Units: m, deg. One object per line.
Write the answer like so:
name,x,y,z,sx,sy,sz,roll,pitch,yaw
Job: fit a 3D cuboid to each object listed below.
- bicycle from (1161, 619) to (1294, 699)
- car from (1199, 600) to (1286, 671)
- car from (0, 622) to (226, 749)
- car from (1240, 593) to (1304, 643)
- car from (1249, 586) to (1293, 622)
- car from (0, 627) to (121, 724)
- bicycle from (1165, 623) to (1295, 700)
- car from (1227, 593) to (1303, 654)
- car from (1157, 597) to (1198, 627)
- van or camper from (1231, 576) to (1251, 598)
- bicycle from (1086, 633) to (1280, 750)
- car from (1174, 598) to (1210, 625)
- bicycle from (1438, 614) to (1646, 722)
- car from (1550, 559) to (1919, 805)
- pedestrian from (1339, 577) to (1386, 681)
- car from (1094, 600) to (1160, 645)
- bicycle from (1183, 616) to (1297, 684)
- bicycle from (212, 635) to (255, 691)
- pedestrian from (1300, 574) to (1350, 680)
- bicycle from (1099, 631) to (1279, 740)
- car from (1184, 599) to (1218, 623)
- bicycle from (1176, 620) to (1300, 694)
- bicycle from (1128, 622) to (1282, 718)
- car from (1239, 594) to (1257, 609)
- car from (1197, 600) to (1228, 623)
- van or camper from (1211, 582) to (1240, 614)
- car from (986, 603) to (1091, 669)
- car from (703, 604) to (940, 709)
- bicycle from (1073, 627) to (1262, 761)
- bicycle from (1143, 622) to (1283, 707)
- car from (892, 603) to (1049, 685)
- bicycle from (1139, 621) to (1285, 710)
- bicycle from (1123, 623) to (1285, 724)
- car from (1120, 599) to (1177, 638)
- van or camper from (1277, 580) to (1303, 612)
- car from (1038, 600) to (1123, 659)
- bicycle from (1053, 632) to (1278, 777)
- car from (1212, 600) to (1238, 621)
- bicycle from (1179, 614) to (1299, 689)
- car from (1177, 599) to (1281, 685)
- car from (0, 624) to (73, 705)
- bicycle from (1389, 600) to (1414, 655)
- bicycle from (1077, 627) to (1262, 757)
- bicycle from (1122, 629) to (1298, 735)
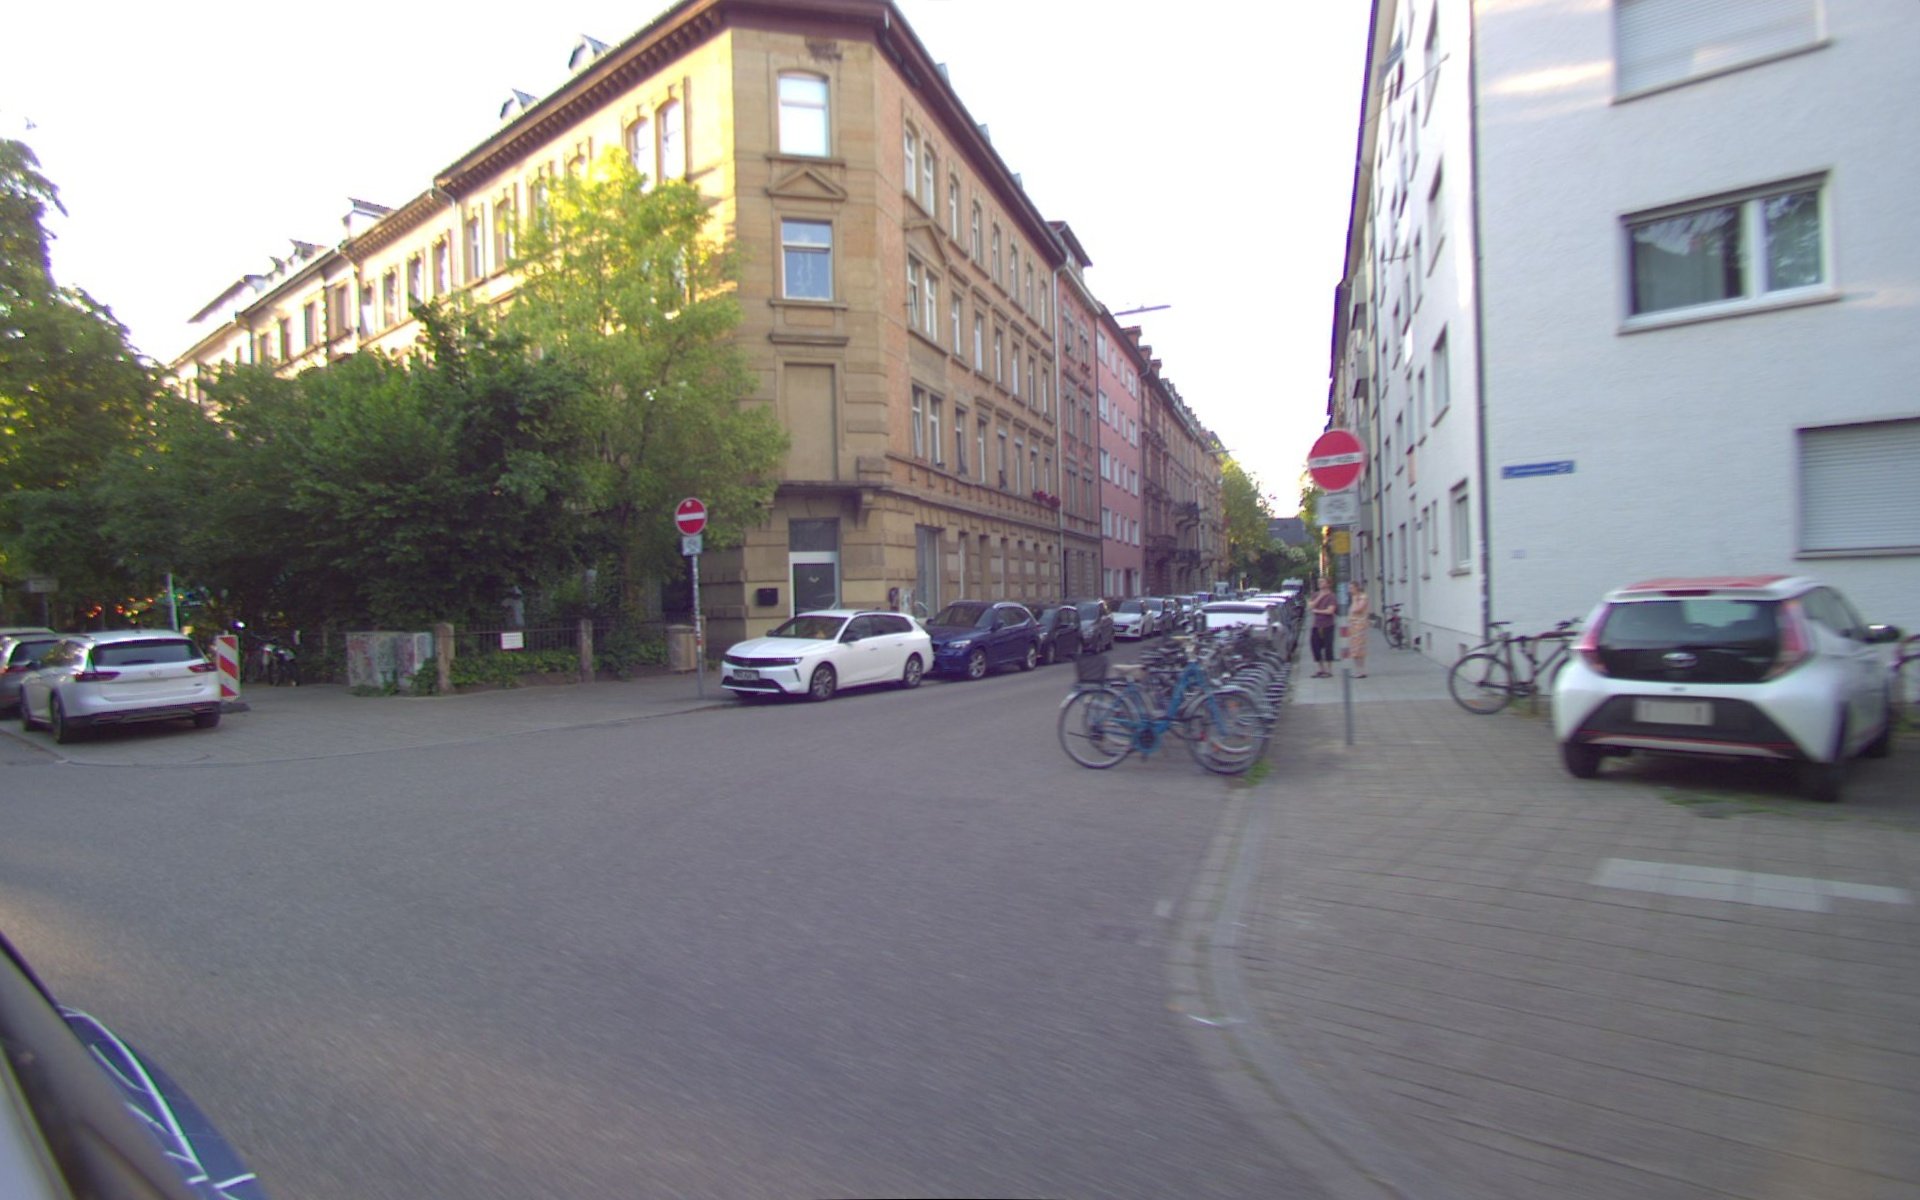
bicycle,3.914,0.875,14.837,1.837,1.125,0.399,-2,-1,20
car,6.827,0.780,24.249,1.679,1.464,3.694,2,1,21
car,-12.822,1.207,15.197,4.732,1.513,1.674,-3,2,39
car,10.701,0.568,34.556,1.832,1.563,4.079,-2,0,21
car,16.536,0.187,53.735,1.985,1.785,3.974,-2,0,20
car,-17.430,1.341,19.055,4.398,1.513,1.673,-2,2,40
bicycle,4.064,0.927,15.289,1.836,1.113,0.365,-2,-1,18
car,8.982,0.649,29.577,1.829,1.567,3.973,-2,0,21
car,11.732,0.625,54.424,1.696,1.540,3.850,0,0,20
van or camper,34.614,-1.542,124.639,2.068,2.704,5.344,0,0,19
bicycle,2.220,0.916,10.155,1.834,1.117,0.365,-2,-1,14
car,13.803,0.670,60.036,1.696,1.540,3.850,0,0,20
bicycle,6.227,0.709,10.921,1.877,1.070,0.391,-2,-1,41
car,6.386,0.467,8.017,4.042,1.458,1.711,-2,-1,-41
pedestrian,6.765,0.477,17.041,0.578,1.695,0.533,-5,-1,20
car,6.207,0.785,37.396,1.697,1.564,3.848,0,0,21
bicycle,4.794,0.868,17.377,1.836,1.113,0.365,-2,-1,18
bicycle,-17.874,1.523,24.928,0.597,1.294,2.493,-1,-1,-30
pedestrian,6.361,0.469,17.663,0.618,1.778,0.499,-6,-1,18
bicycle,2.452,0.922,10.919,1.834,1.117,0.365,-2,-1,14
car,15.592,0.692,65.359,1.696,1.540,3.850,0,0,20
bicycle,4.374,0.898,15.984,1.836,1.113,0.365,-2,-1,18
bicycle,3.091,0.894,12.825,1.834,1.160,0.365,-2,-1,14
car,30.833,0.136,108.283,1.696,1.540,3.850,0,0,20
car,17.650,0.752,70.667,1.696,1.540,3.850,0,0,20
van or camper,23.399,-0.182,88.993,2.068,2.747,5.344,0,0,19
car,2.126,0.876,26.528,1.697,1.564,3.847,0,0,22
car,-2.235,0.899,17.627,1.702,1.564,4.421,-3,-2,30
bicycle,1.907,0.876,9.392,1.663,1.190,0.242,-2,-1,14
bicycle,3.499,0.899,14.085,1.834,1.125,0.365,-2,-1,14
car,0.336,0.864,21.801,1.701,1.564,4.066,0,0,29
bicycle,3.343,0.880,13.511,1.834,1.125,0.365,-2,-1,14
bicycle,2.932,0.889,12.241,1.834,1.160,0.365,-2,-1,14
car,7.905,0.738,42.313,1.697,1.564,3.848,0,0,21
van or camper,29.787,-0.349,91.329,2.068,2.747,5.344,0,0,19
car,3.725,0.822,30.693,1.697,1.659,3.848,0,0,21
bicycle,1.761,0.881,8.763,1.860,1.190,0.336,-1,0,14
car,20.782,0.813,79.378,1.696,1.540,3.850,0,0,20
bicycle,4.550,0.845,16.570,1.836,1.174,0.365,-2,-1,18
car,5.351,0.745,19.956,1.784,1.484,3.693,0,0,17
car,-20.992,1.414,22.126,4.398,1.575,1.673,-3,2,40
bicycle,10.400,0.622,23.867,0.394,1.216,1.865,-2,0,21
bicycle,1.980,0.878,9.645,1.663,1.190,0.242,-2,-1,14
bicycle,2.762,0.915,11.279,1.834,1.117,0.365,-2,-1,14
